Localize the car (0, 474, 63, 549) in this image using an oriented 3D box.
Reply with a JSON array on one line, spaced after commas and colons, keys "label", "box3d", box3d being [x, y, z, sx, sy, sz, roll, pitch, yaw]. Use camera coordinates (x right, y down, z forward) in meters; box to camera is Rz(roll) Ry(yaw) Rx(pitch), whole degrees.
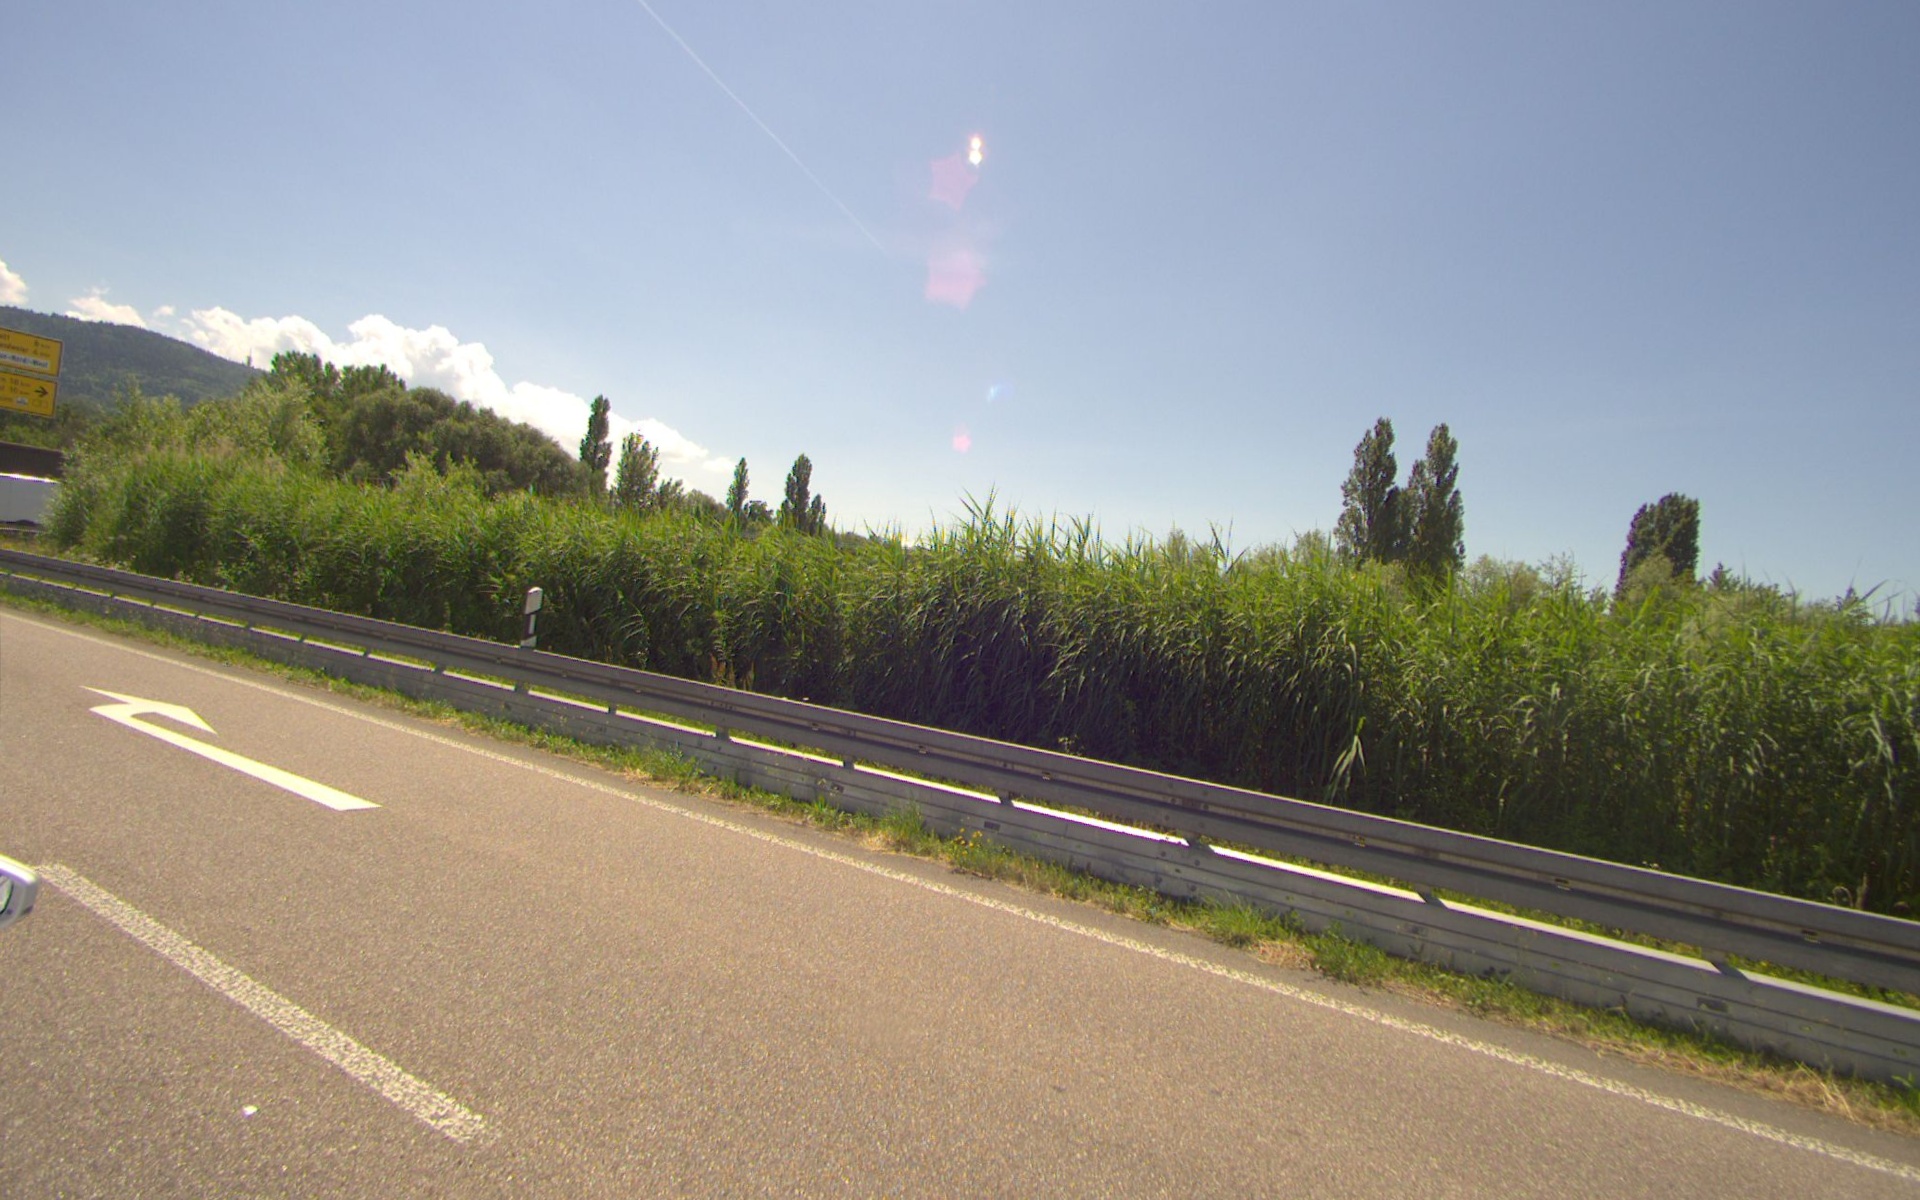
[{"label": "car", "box3d": [-36.132, -3.498, 36.119, 2.005, 2.479, 5.356, 7, -1, 29]}]
